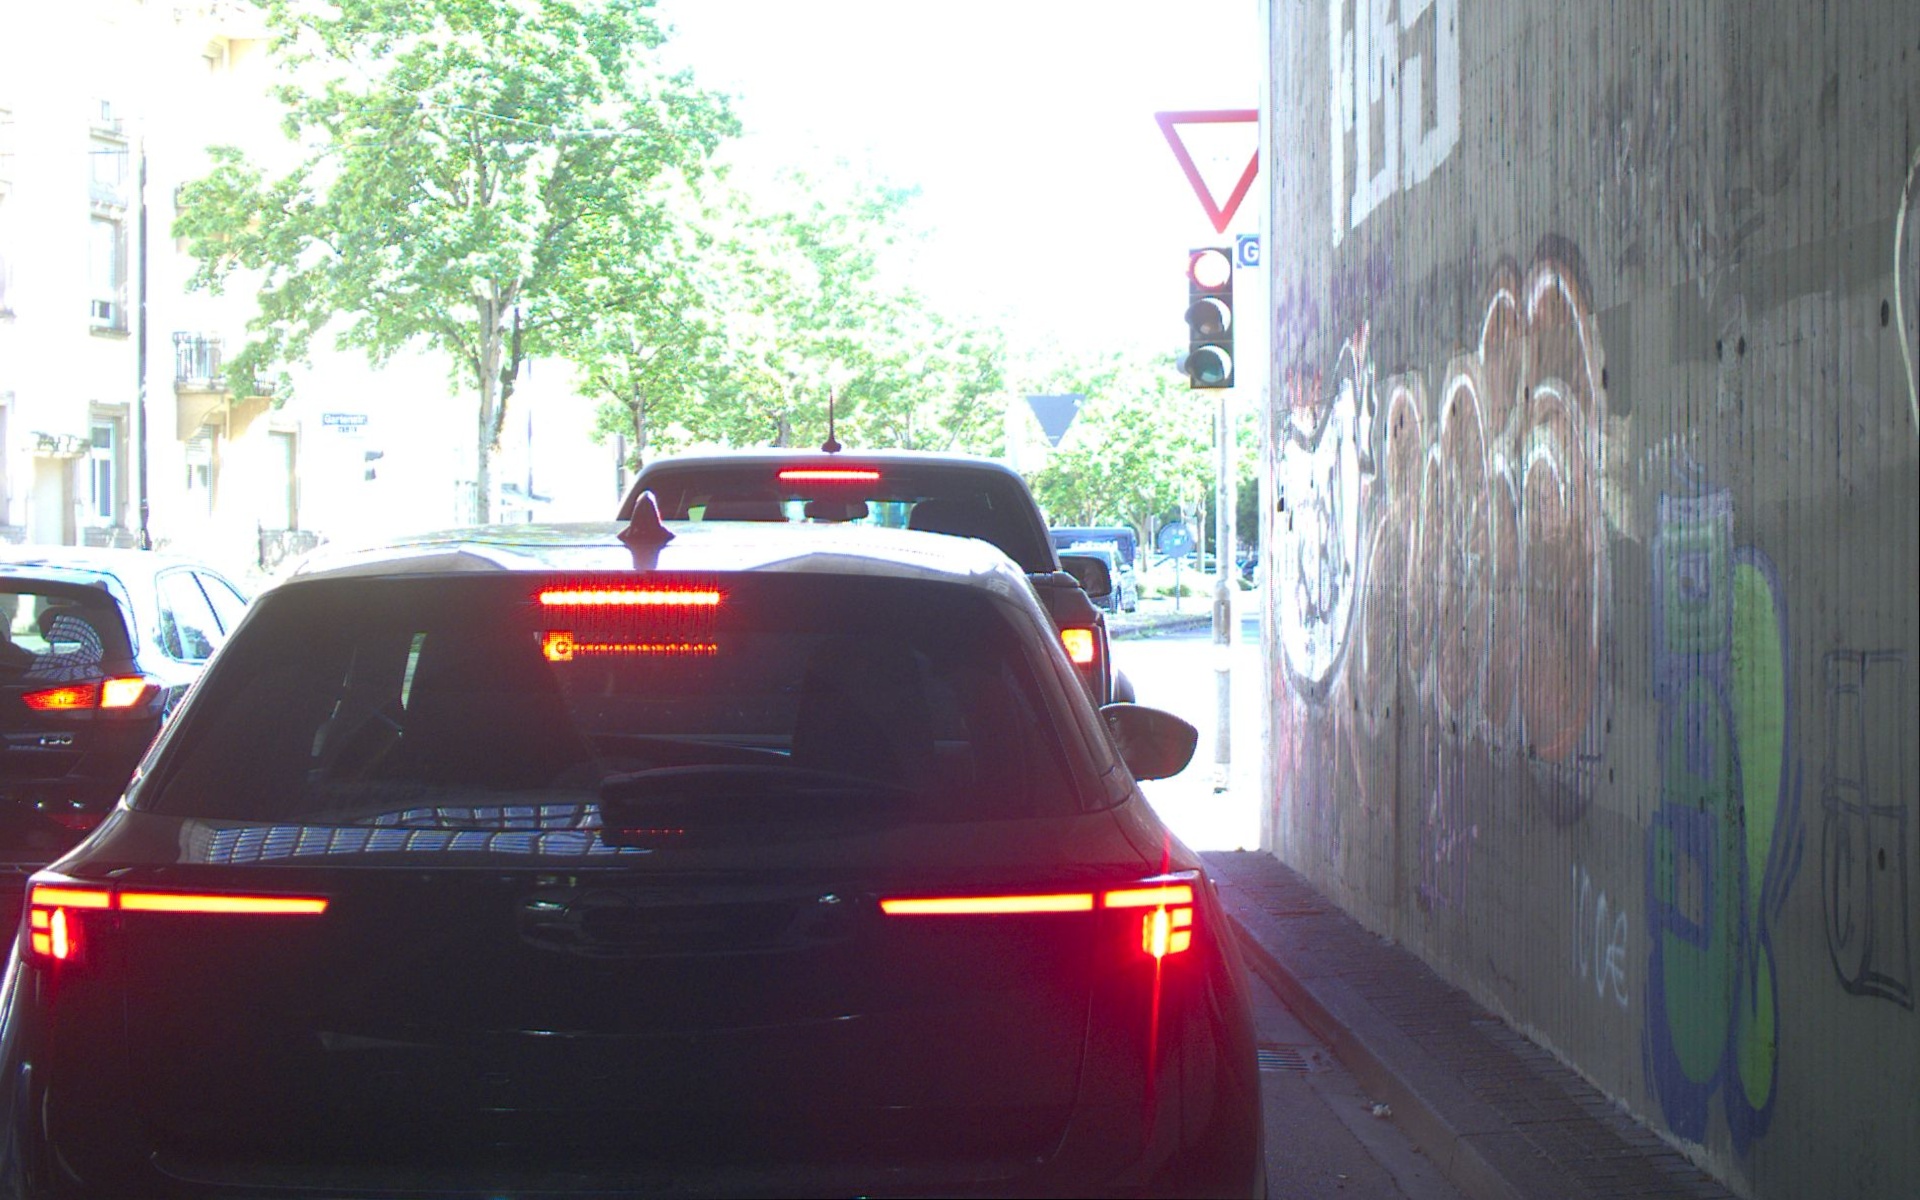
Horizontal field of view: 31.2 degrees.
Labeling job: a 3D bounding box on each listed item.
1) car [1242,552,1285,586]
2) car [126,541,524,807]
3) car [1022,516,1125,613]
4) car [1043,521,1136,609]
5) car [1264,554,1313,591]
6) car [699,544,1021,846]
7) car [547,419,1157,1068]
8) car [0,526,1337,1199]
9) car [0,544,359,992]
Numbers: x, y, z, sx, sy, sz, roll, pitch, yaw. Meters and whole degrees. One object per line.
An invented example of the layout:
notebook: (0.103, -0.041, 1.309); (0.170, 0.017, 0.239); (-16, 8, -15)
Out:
car: (15.239, -1.552, 172.519); (1.754, 1.661, 3.943); (1, 1, 11)
car: (-3.765, 0.379, 20.992); (1.762, 1.475, 3.844); (0, 1, -1)
car: (2.083, -0.641, 62.177); (1.754, 1.661, 3.944); (1, 1, 3)
car: (2.603, -0.695, 68.296); (1.754, 1.661, 3.944); (1, 1, 3)
car: (15.420, -1.300, 161.174); (1.818, 1.661, 4.813); (1, 1, 11)
car: (-0.522, 0.445, 19.241); (1.609, 1.508, 4.054); (0, 1, -1)
car: (-0.337, 0.383, 12.021); (1.762, 1.876, 4.146); (0, 1, -1)
car: (-0.464, 0.644, 6.080); (1.762, 1.526, 4.089); (0, 1, -1)
car: (-3.514, 0.525, 13.268); (1.762, 1.475, 3.844); (0, 1, -1)
